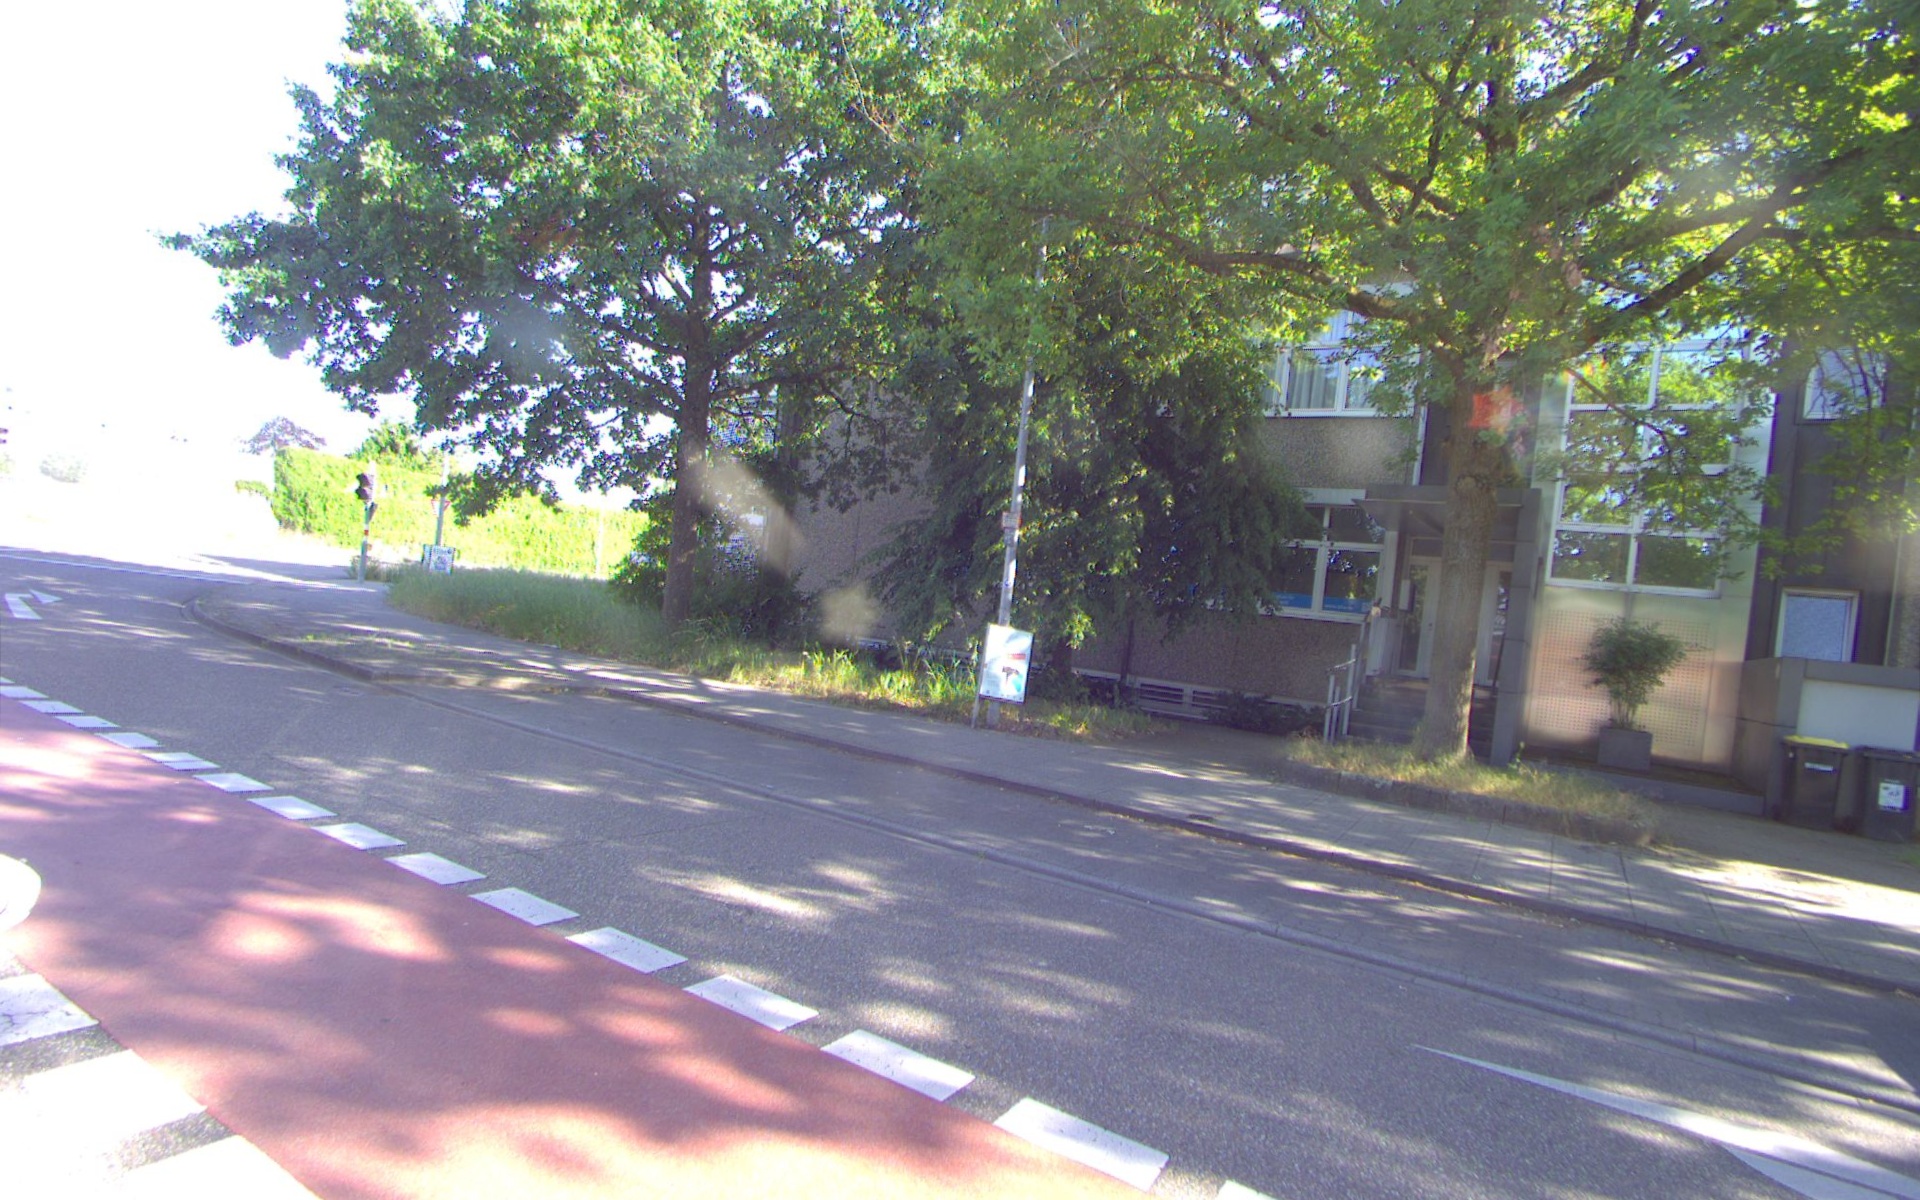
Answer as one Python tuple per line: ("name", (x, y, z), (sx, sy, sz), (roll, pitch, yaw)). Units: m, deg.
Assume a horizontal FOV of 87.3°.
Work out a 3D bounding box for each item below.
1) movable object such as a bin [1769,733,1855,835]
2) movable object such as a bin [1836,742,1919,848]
("movable object such as a bin", (10.164, 2.180, 12.020), (0.575, 1.070, 0.625), (7, 0, 30))
("movable object such as a bin", (10.752, 2.248, 11.727), (0.605, 1.075, 0.634), (6, 0, 30))
